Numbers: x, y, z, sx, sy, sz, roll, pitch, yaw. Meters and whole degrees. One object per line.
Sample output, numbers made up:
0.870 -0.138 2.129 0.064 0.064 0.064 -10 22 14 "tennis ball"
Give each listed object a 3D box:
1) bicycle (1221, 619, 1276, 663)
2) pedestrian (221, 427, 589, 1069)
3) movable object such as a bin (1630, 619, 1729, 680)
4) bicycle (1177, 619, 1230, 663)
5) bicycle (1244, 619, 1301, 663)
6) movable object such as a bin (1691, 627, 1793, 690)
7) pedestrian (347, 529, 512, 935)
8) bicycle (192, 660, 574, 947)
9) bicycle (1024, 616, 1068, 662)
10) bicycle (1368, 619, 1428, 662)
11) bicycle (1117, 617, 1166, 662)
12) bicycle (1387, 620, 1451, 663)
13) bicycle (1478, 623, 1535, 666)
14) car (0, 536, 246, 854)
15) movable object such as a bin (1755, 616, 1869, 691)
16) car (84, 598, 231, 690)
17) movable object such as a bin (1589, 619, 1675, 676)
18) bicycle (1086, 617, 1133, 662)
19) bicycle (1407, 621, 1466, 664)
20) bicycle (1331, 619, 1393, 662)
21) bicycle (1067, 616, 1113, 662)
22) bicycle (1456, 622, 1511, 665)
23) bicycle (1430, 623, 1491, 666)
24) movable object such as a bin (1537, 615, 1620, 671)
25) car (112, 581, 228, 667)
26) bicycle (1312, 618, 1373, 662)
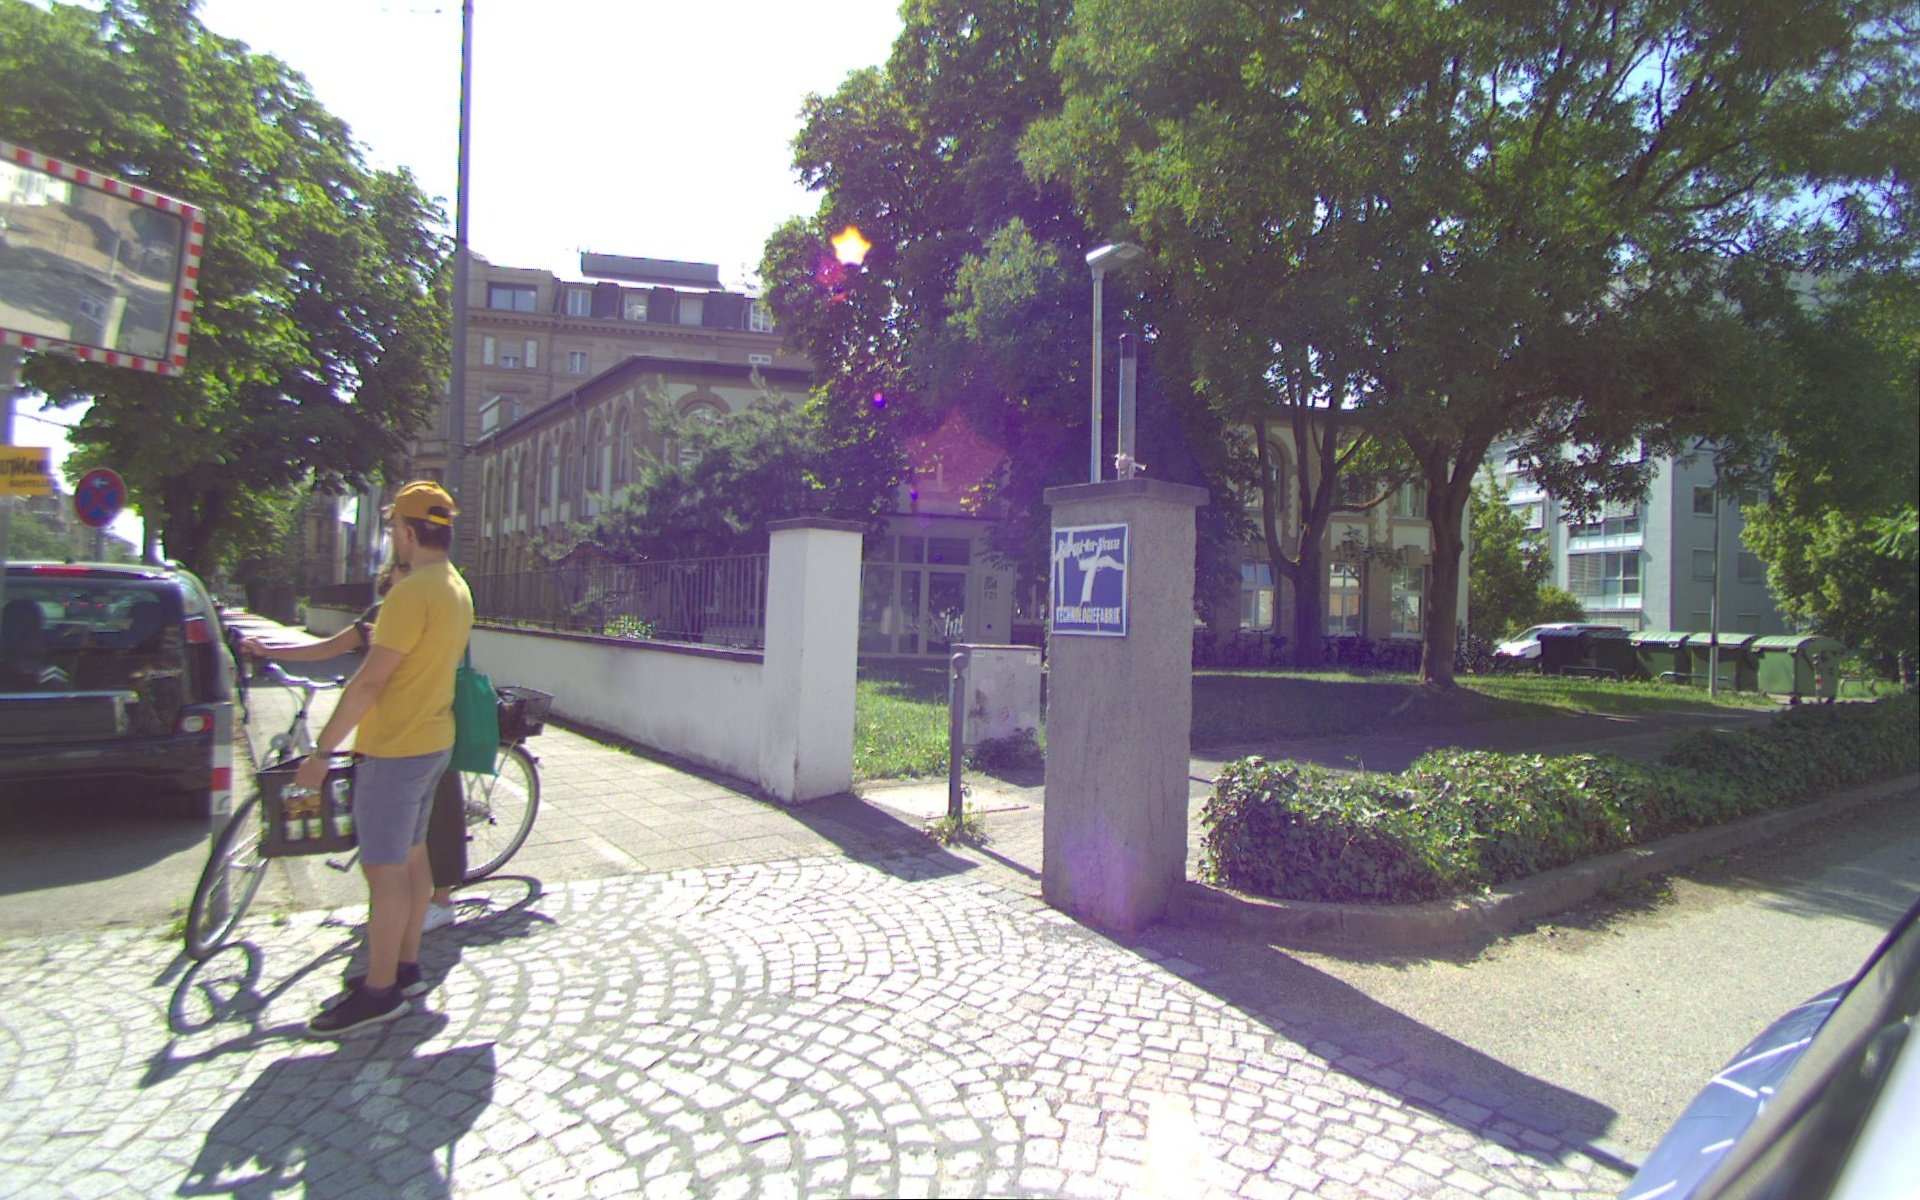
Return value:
8.098 1.139 28.486 0.576 1.176 2.106 1 -1 -12 "bicycle"
-1.944 0.436 3.579 0.825 1.889 0.842 0 -2 38 "pedestrian"
17.087 1.171 24.074 1.190 1.379 1.505 1 -1 -15 "movable object such as a bin"
6.782 1.123 28.262 0.576 1.176 2.106 1 -1 -12 "bicycle"
8.835 1.134 28.671 0.576 1.176 2.106 1 -1 -12 "bicycle"
17.445 1.289 22.611 1.190 1.317 1.358 1 -1 -15 "movable object such as a bin"
-2.300 0.533 4.404 0.419 1.642 0.448 0 -2 35 "pedestrian"
-2.553 0.831 4.652 0.361 1.054 1.493 0 -1 34 "bicycle"
2.277 1.012 26.937 0.576 1.176 2.106 1 -1 -12 "bicycle"
12.618 1.151 29.230 0.576 1.176 1.925 1 -1 -12 "bicycle"
5.011 1.082 27.994 0.576 1.176 2.106 1 -1 -12 "bicycle"
13.322 1.189 29.443 0.576 1.176 2.106 1 -1 -12 "bicycle"
15.964 1.280 29.591 0.546 1.176 1.945 1 -1 -2 "bicycle"
-6.196 0.511 7.149 1.821 1.705 3.999 2 -1 -35 "car"
17.758 1.098 21.142 1.192 1.481 1.392 1 -1 0 "movable object such as a bin"
-14.143 0.698 17.916 1.823 1.430 3.996 2 -1 -38 "car"
16.974 1.188 25.590 1.190 1.366 1.355 1 -1 -15 "movable object such as a bin"
4.103 1.058 27.878 0.576 1.176 2.106 1 -1 -12 "bicycle"
13.876 1.224 29.532 0.484 1.176 1.917 1 -1 -12 "bicycle"
11.546 1.136 29.126 0.576 1.176 2.106 1 -1 -12 "bicycle"
3.530 1.048 27.636 0.576 1.176 2.106 1 -1 -12 "bicycle"
15.346 1.257 29.721 0.497 1.176 1.807 1 -1 -7 "bicycle"
14.693 1.291 29.747 0.600 1.176 1.854 1 -1 -12 "bicycle"
16.556 1.130 27.111 1.224 1.427 1.439 1 -1 -16 "movable object such as a bin"
-17.278 0.500 22.174 1.823 1.701 3.996 2 -1 -38 "car"
10.914 1.125 28.942 0.576 1.176 2.106 1 -1 -12 "bicycle"
